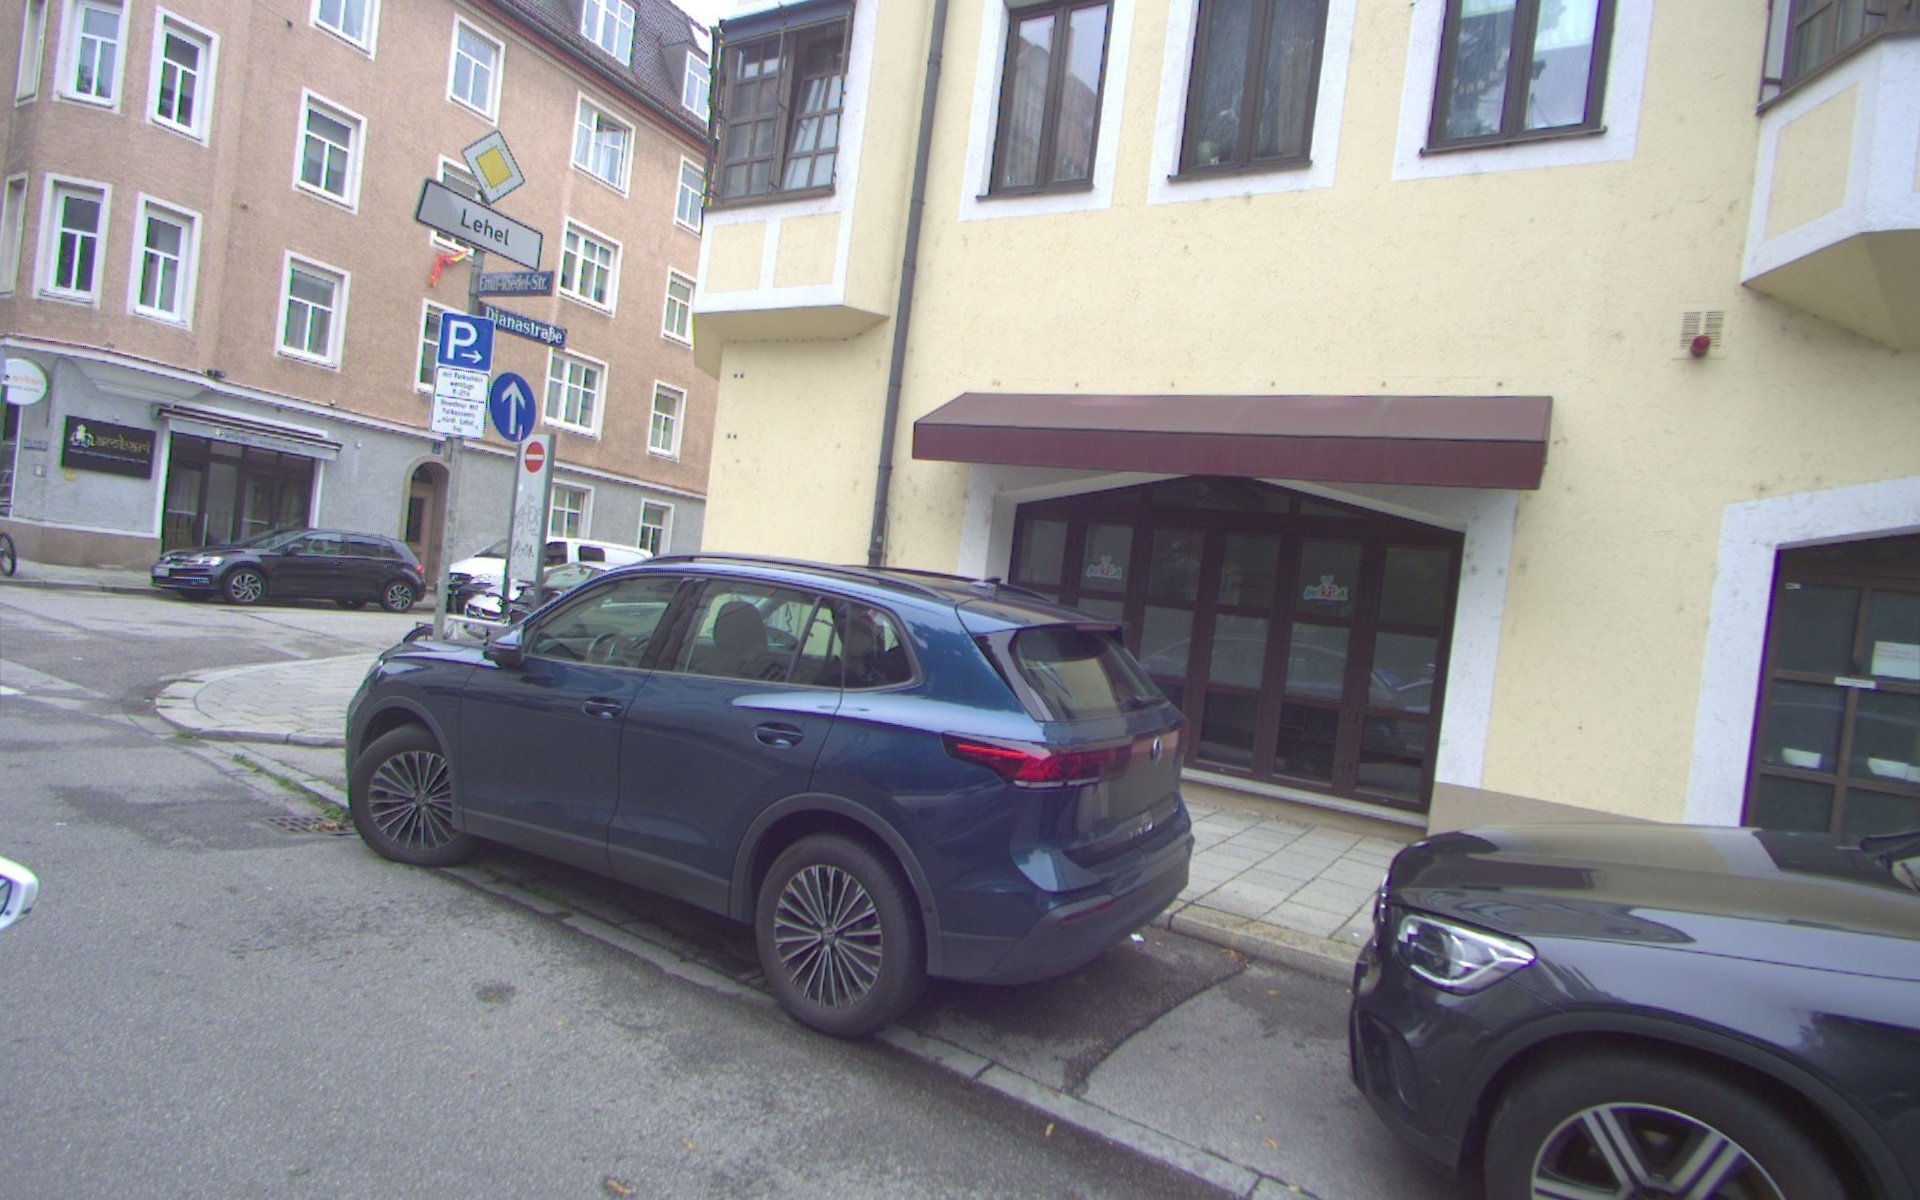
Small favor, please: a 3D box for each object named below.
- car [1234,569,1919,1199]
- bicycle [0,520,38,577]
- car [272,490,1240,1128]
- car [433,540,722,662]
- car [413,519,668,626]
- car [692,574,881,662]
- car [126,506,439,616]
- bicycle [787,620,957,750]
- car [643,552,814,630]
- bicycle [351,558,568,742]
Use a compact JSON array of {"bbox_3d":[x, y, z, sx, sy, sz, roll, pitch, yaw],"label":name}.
[{"bbox_3d":[3.228,1.041,2.194,4.630,1.701,1.757,7,1,33],"label":"car"},{"bbox_3d":[-15.411,-0.853,16.186,1.304,0.815,0.457,7,0,32],"label":"bicycle"},{"bbox_3d":[-1.175,0.548,4.898,4.435,1.701,1.820,7,1,31],"label":"car"},{"bbox_3d":[-6.020,0.095,16.301,1.717,1.475,4.042,9,1,31],"label":"car"},{"bbox_3d":[-9.436,-0.542,23.147,2.064,1.876,5.136,5,-1,29],"label":"car"},{"bbox_3d":[-3.572,0.433,21.310,1.717,1.394,3.812,9,1,31],"label":"car"},{"bbox_3d":[-11.924,-0.620,18.007,1.893,1.446,4.177,5,-1,29],"label":"car"},{"bbox_3d":[-0.867,0.791,9.656,1.656,0.989,0.271,7,0,30],"label":"bicycle"},{"bbox_3d":[-6.444,-0.199,28.549,2.064,1.707,4.616,5,-1,29],"label":"car"},{"bbox_3d":[-4.117,0.373,8.211,1.962,1.222,0.514,7,0,32],"label":"bicycle"}]
